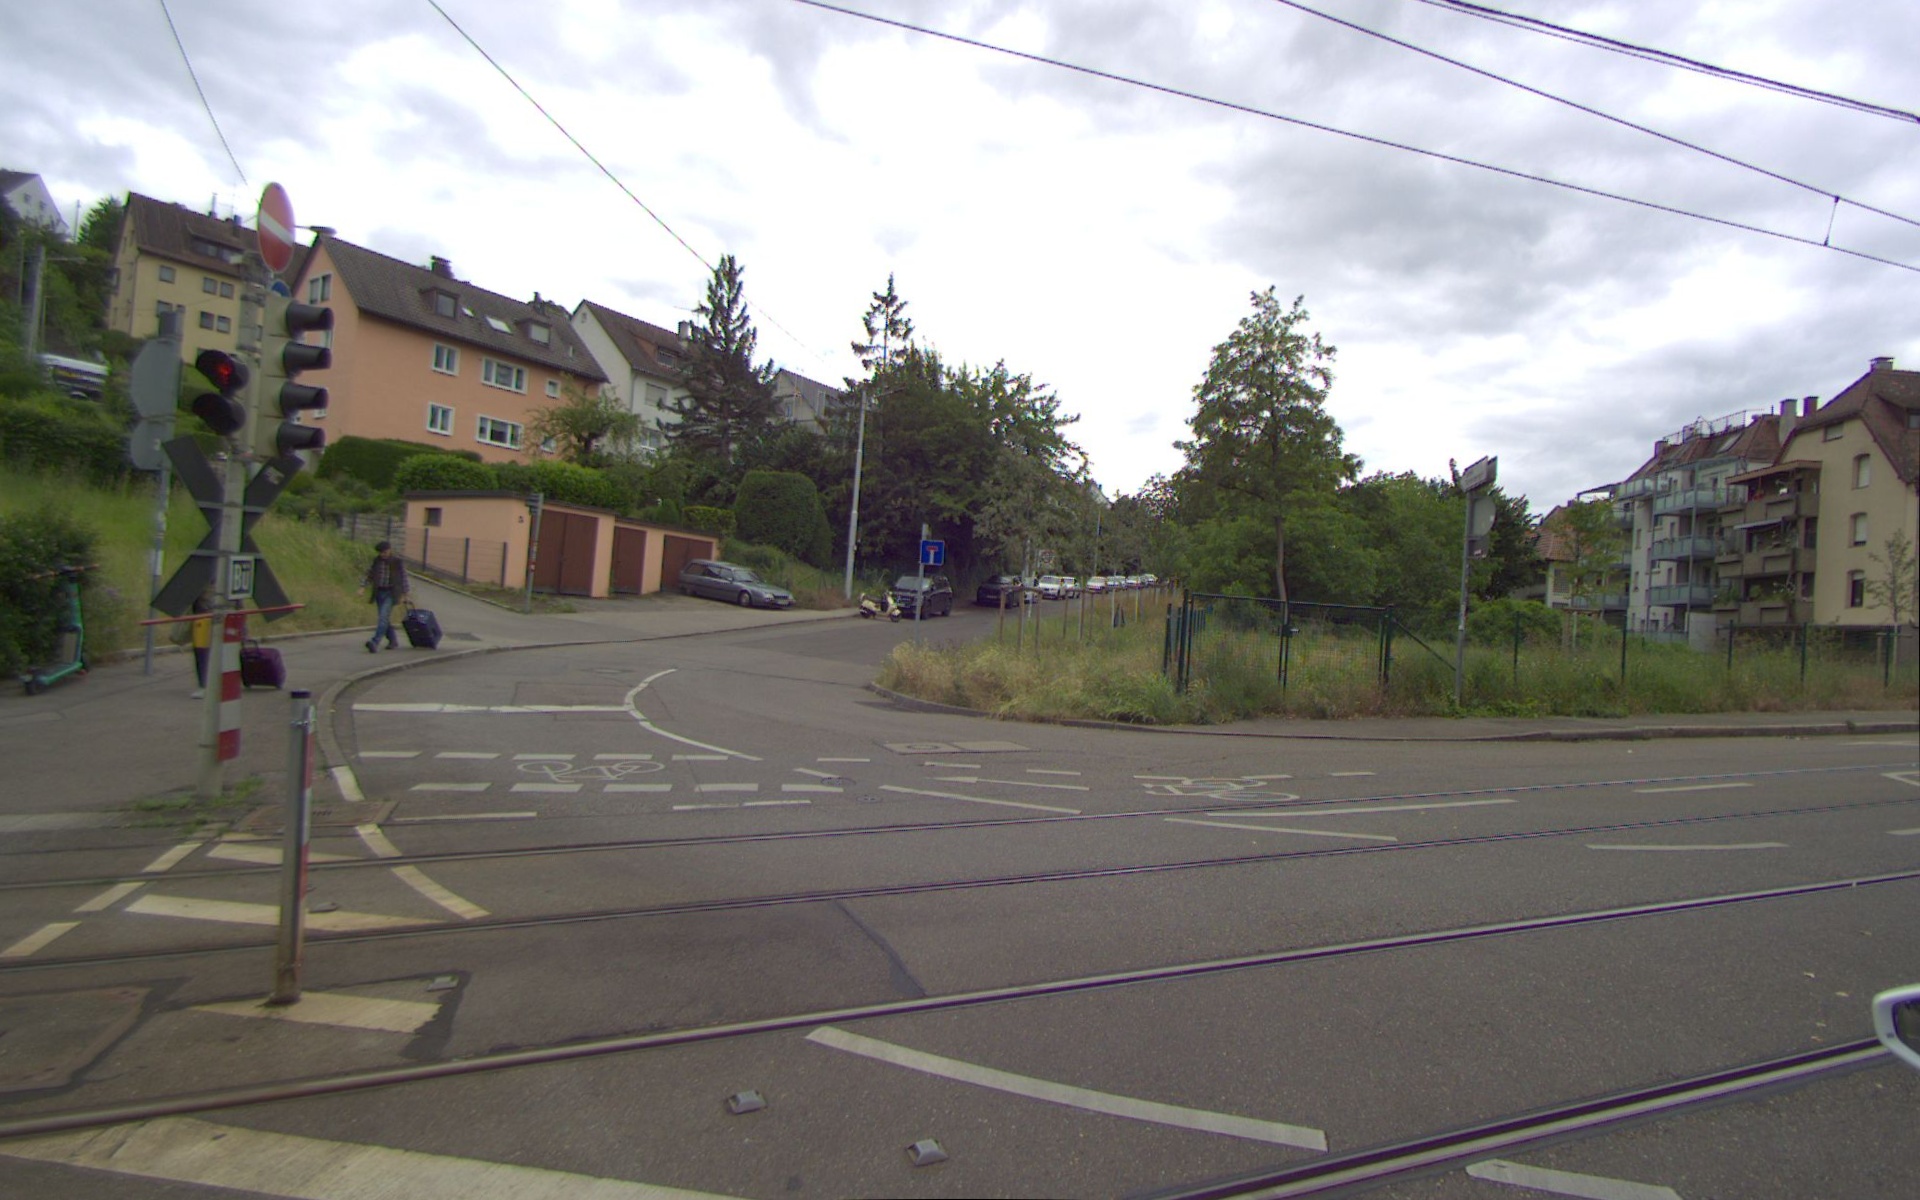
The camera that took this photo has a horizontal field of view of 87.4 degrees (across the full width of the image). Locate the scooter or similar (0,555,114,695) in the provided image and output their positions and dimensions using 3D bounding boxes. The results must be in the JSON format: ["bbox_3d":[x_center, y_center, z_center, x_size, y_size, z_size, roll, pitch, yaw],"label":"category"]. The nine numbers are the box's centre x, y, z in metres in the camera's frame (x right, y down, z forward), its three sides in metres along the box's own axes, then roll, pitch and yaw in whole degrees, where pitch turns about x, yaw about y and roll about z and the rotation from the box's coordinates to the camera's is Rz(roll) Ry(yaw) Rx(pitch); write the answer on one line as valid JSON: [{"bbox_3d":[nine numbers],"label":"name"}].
[{"bbox_3d":[-9.347,0.220,10.423,0.412,1.306,1.406,2,4,-21],"label":"scooter or similar"}]

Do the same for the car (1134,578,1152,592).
[{"bbox_3d":[23.694,-1.919,129.895,1.801,1.680,4.133,2,0,17],"label":"car"}]

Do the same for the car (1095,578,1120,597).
[{"bbox_3d":[14.709,-1.213,100.153,1.801,1.680,4.133,2,0,17],"label":"car"}]

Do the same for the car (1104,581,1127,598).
[{"bbox_3d":[16.411,-1.100,105.882,1.801,1.680,4.133,2,0,17],"label":"car"}]

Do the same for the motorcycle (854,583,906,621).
[{"bbox_3d":[-2.880,0.082,36.055,1.671,1.172,0.522,6,1,14],"label":"motorcycle"}]

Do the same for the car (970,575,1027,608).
[{"bbox_3d":[2.071,-0.421,52.997,1.943,1.531,4.133,2,0,18],"label":"car"}]

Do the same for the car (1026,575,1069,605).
[{"bbox_3d":[5.907,-0.667,67.243,1.864,1.812,4.485,2,0,18],"label":"car"}]

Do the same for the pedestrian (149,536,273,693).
[{"bbox_3d":[-7.990,0.154,10.756,0.743,1.595,0.752,2,0,-8],"label":"pedestrian"}]

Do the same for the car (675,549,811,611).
[{"bbox_3d":[-7.868,-0.754,36.225,4.801,1.633,1.993,8,3,36],"label":"car"}]

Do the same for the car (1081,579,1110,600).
[{"bbox_3d":[12.057,-0.941,88.931,1.801,1.680,4.133,2,0,18],"label":"car"}]

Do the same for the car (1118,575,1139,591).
[{"bbox_3d":[19.653,-2.012,117.137,1.801,1.680,4.133,2,0,17],"label":"car"}]

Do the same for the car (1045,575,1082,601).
[{"bbox_3d":[7.536,-0.823,72.827,1.801,1.680,4.133,2,0,18],"label":"car"}]

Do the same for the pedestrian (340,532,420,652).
[{"bbox_3d":[-8.969,-0.115,15.558,0.729,1.773,0.901,2,0,-8],"label":"pedestrian"}]

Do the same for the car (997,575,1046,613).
[{"bbox_3d":[3.676,-0.326,59.702,1.943,2.040,4.133,2,0,17],"label":"car"}]

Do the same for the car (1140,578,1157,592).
[{"bbox_3d":[25.377,-1.984,134.916,1.801,1.680,4.133,2,0,17],"label":"car"}]

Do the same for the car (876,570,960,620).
[{"bbox_3d":[-1.556,-0.241,39.205,1.937,1.713,4.451,2,3,16],"label":"car"}]
